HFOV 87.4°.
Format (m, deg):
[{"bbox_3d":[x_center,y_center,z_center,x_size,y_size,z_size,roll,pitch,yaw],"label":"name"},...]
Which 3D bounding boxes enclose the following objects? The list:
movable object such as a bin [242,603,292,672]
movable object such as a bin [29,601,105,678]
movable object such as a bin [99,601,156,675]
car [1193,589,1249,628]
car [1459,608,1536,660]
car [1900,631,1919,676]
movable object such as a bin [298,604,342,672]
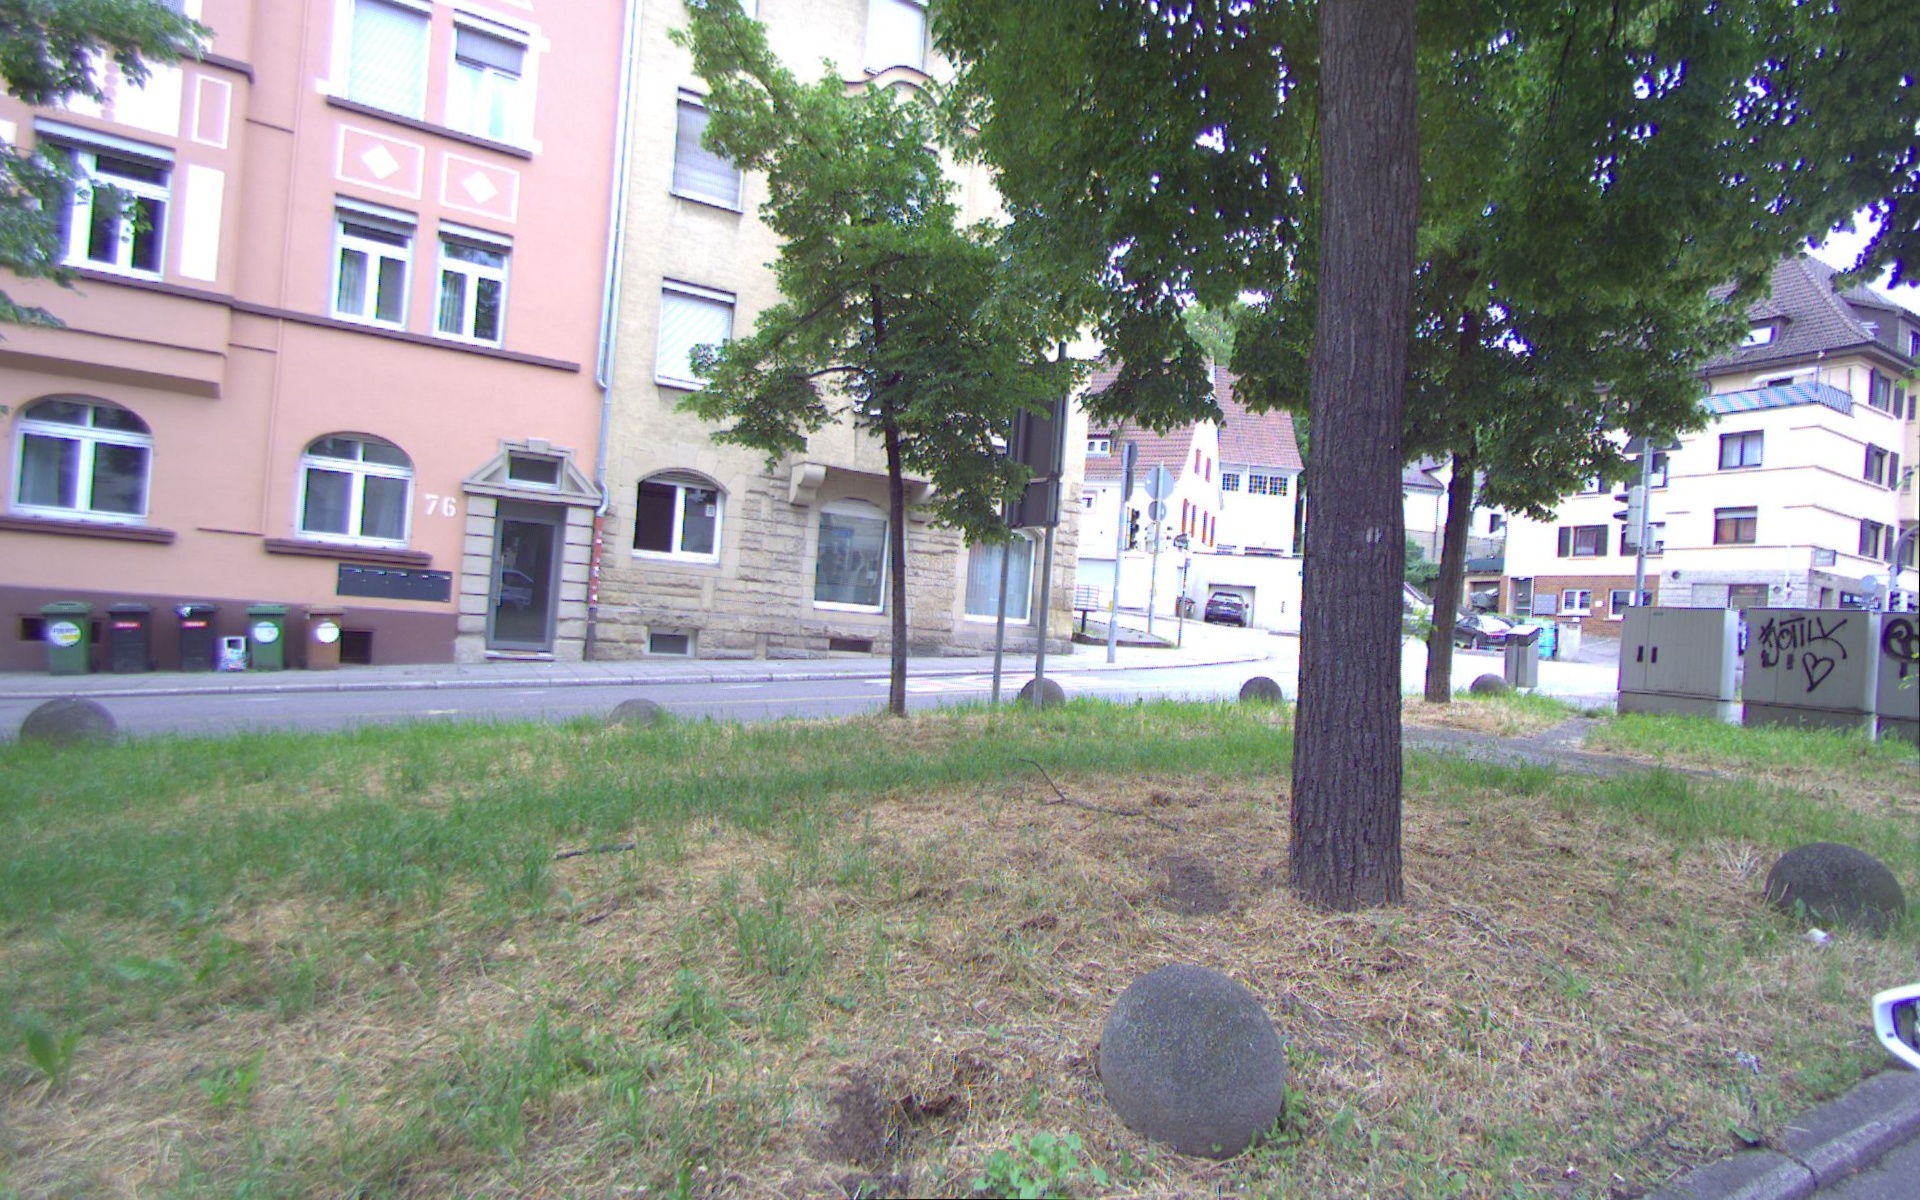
[{"bbox_3d":[-9.814,0.526,14.244,0.554,0.934,0.649,2,0,-34],"label":"movable object such as a bin"},{"bbox_3d":[-11.646,0.512,13.118,0.611,0.961,0.613,2,0,-31],"label":"movable object such as a bin"},{"bbox_3d":[-11.166,0.501,13.478,0.527,0.958,0.576,2,0,-36],"label":"movable object such as a bin"},{"bbox_3d":[11.578,0.351,44.802,1.639,1.424,3.057,7,3,2],"label":"car"},{"bbox_3d":[21.858,1.345,40.978,1.832,1.619,3.519,2,6,13],"label":"car"},{"bbox_3d":[34.889,1.911,34.949,3.844,1.506,1.839,2,0,-24],"label":"car"},{"bbox_3d":[-9.287,0.543,14.568,0.510,0.934,0.752,2,0,-34],"label":"movable object such as a bin"}]
